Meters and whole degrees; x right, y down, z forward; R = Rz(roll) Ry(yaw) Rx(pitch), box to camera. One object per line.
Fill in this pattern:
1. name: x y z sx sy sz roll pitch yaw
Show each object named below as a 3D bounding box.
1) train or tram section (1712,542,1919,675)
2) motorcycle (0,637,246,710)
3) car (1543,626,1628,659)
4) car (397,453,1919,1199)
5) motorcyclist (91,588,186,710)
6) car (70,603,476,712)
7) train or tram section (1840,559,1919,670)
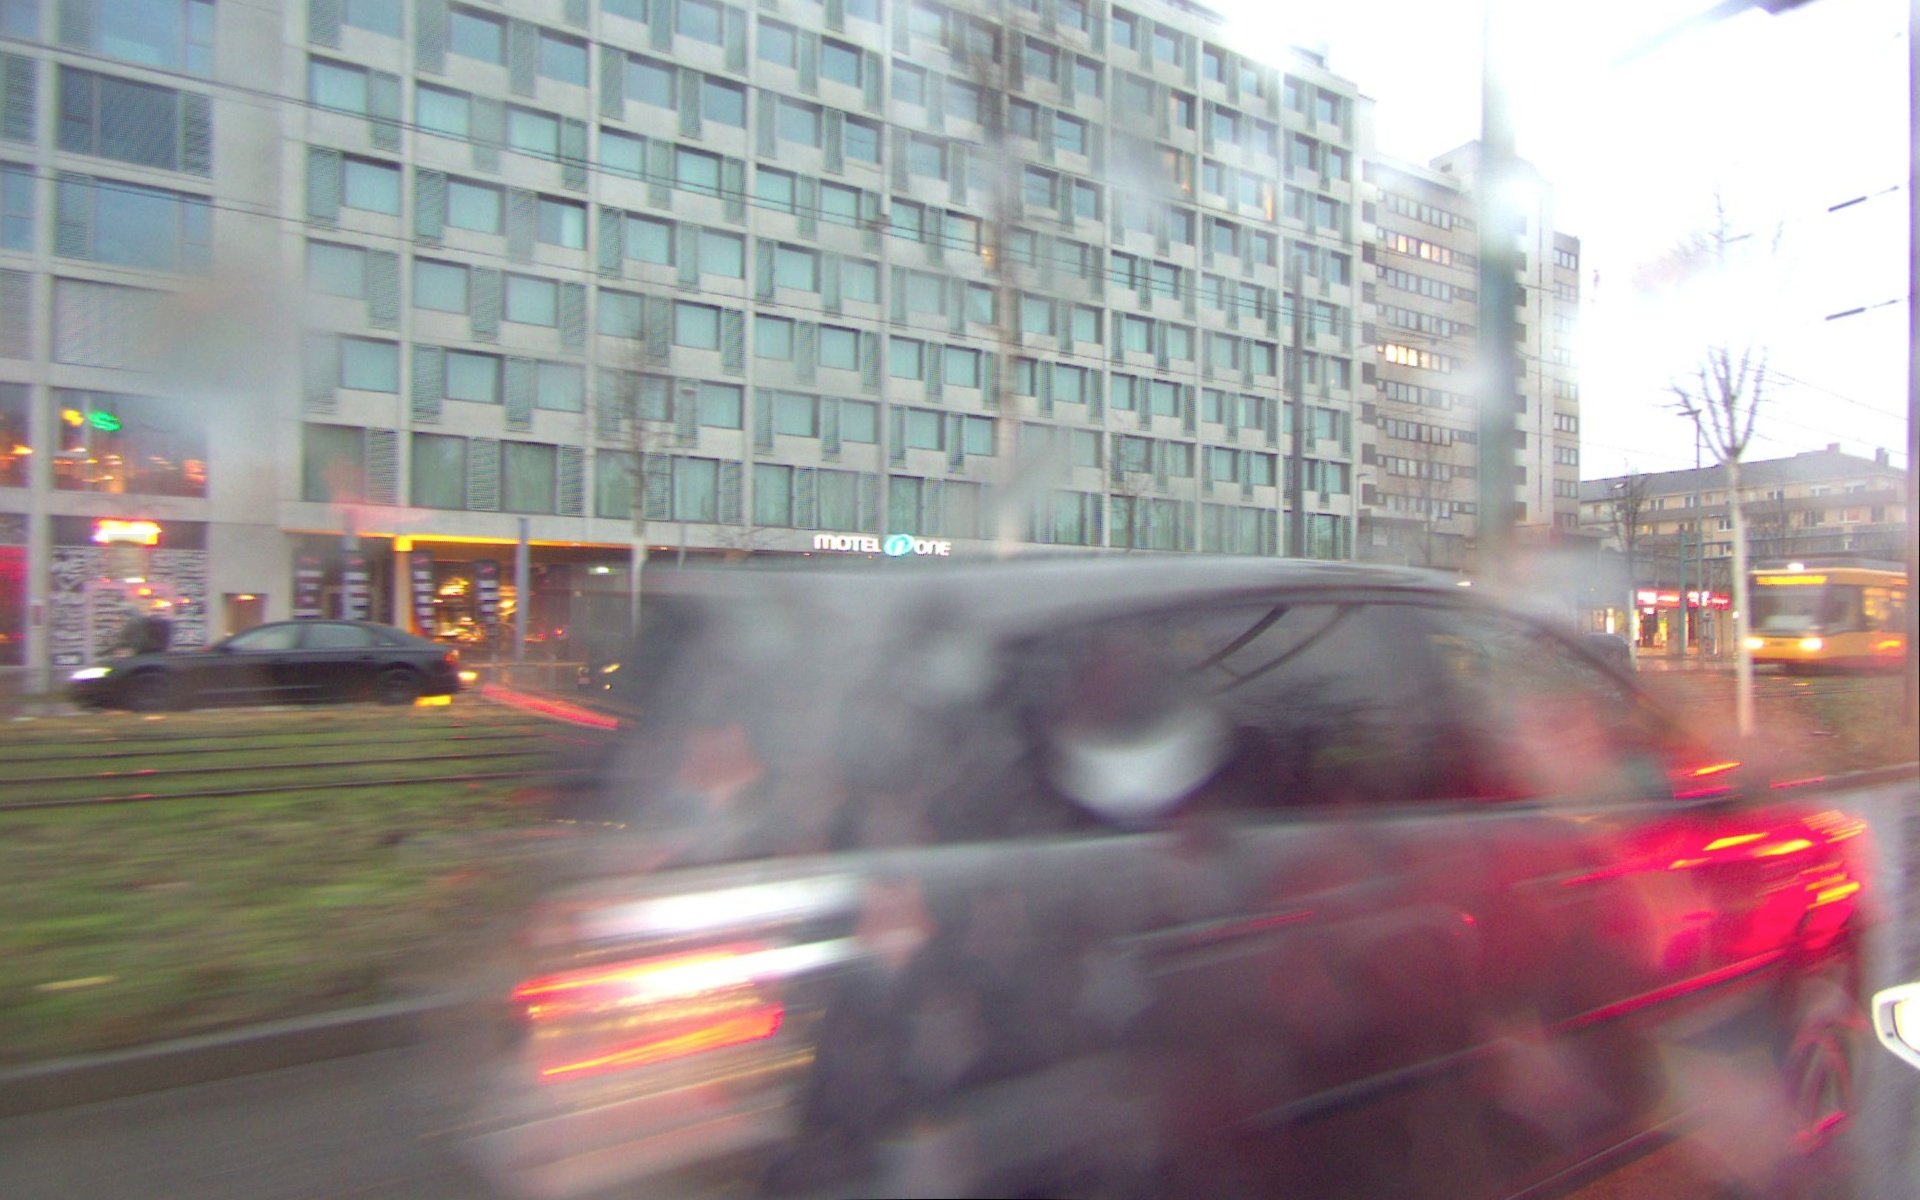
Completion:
1. train or tram section: 26.568 0.378 30.367 9.051 3.550 2.829 2 -2 -31
2. motorcycle: -13.418 1.152 16.256 2.932 1.071 0.866 2 0 -30
3. car: 35.482 2.394 57.062 3.744 1.821 1.910 0 -1 19
4. car: 0.753 0.710 2.733 3.953 1.615 1.751 2 0 -30
5. motorcyclist: -13.323 0.779 16.320 1.021 1.910 0.867 1 0 -30
6. car: -10.589 0.857 16.015 5.035 1.481 1.984 2 0 -30
7. train or tram section: 34.342 0.601 34.971 9.051 3.550 2.829 2 -2 -31
